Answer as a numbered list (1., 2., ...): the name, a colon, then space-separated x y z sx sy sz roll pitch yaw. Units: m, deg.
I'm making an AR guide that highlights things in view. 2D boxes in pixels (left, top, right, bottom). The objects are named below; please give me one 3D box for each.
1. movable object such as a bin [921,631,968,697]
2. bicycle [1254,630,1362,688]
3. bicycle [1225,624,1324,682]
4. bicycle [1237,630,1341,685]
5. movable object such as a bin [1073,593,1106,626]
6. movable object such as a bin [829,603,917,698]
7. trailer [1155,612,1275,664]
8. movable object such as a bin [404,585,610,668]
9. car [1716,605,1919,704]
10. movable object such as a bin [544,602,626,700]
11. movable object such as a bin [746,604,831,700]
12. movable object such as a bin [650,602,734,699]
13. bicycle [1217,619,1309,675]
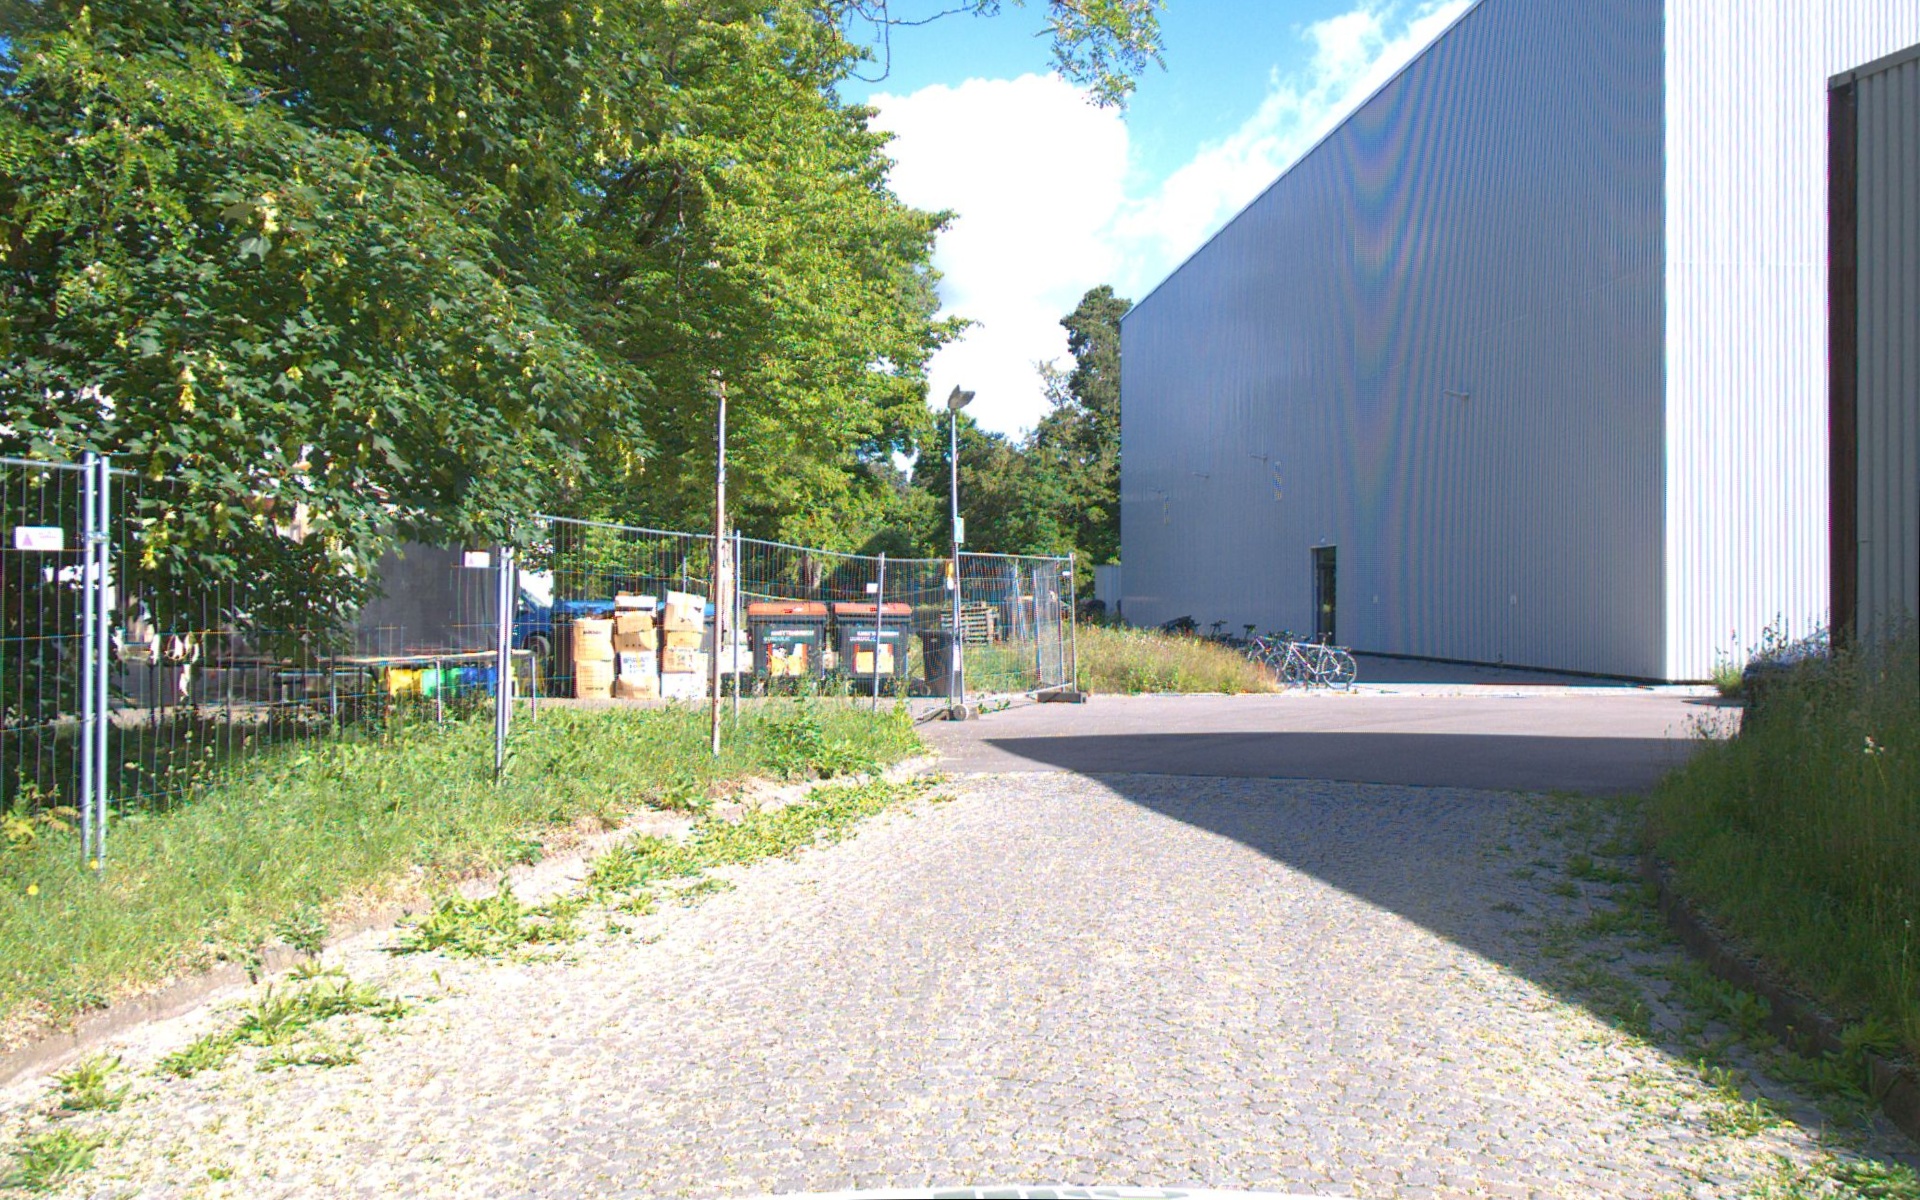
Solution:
1. movable object such as a bin: -0.241 0.999 25.932 0.627 1.025 0.605 0 -1 9
2. bicycle: 6.197 1.051 29.495 1.847 0.995 0.432 0 -1 -7
3. bicycle: 6.077 1.020 31.984 1.847 1.101 0.432 0 -1 -7
4. bicycle: 6.105 1.065 30.682 1.847 0.995 0.432 0 -1 -7
5. movable object such as a bin: 6.755 0.510 86.407 1.336 1.685 2.840 0 0 -4
6. movable object such as a bin: -1.382 0.785 26.002 1.264 1.451 1.030 0 -1 -10
7. trailer: 6.183 0.911 40.197 2.659 1.221 1.244 0 0 -7
8. movable object such as a bin: -11.332 0.656 41.700 4.781 2.005 1.929 0 0 -9
9. car: 13.764 0.802 24.842 4.076 1.408 1.752 1 0 -8
10. movable object such as a bin: -5.737 0.764 25.377 1.062 1.463 1.055 0 -1 -4
11. movable object such as a bin: -2.686 0.793 25.783 1.263 1.451 1.030 0 -1 -9
12. movable object such as a bin: -4.140 0.769 25.617 1.263 1.451 1.030 0 -1 -9
13. bicycle: 6.319 0.967 34.488 1.847 1.145 0.432 0 -1 -7
